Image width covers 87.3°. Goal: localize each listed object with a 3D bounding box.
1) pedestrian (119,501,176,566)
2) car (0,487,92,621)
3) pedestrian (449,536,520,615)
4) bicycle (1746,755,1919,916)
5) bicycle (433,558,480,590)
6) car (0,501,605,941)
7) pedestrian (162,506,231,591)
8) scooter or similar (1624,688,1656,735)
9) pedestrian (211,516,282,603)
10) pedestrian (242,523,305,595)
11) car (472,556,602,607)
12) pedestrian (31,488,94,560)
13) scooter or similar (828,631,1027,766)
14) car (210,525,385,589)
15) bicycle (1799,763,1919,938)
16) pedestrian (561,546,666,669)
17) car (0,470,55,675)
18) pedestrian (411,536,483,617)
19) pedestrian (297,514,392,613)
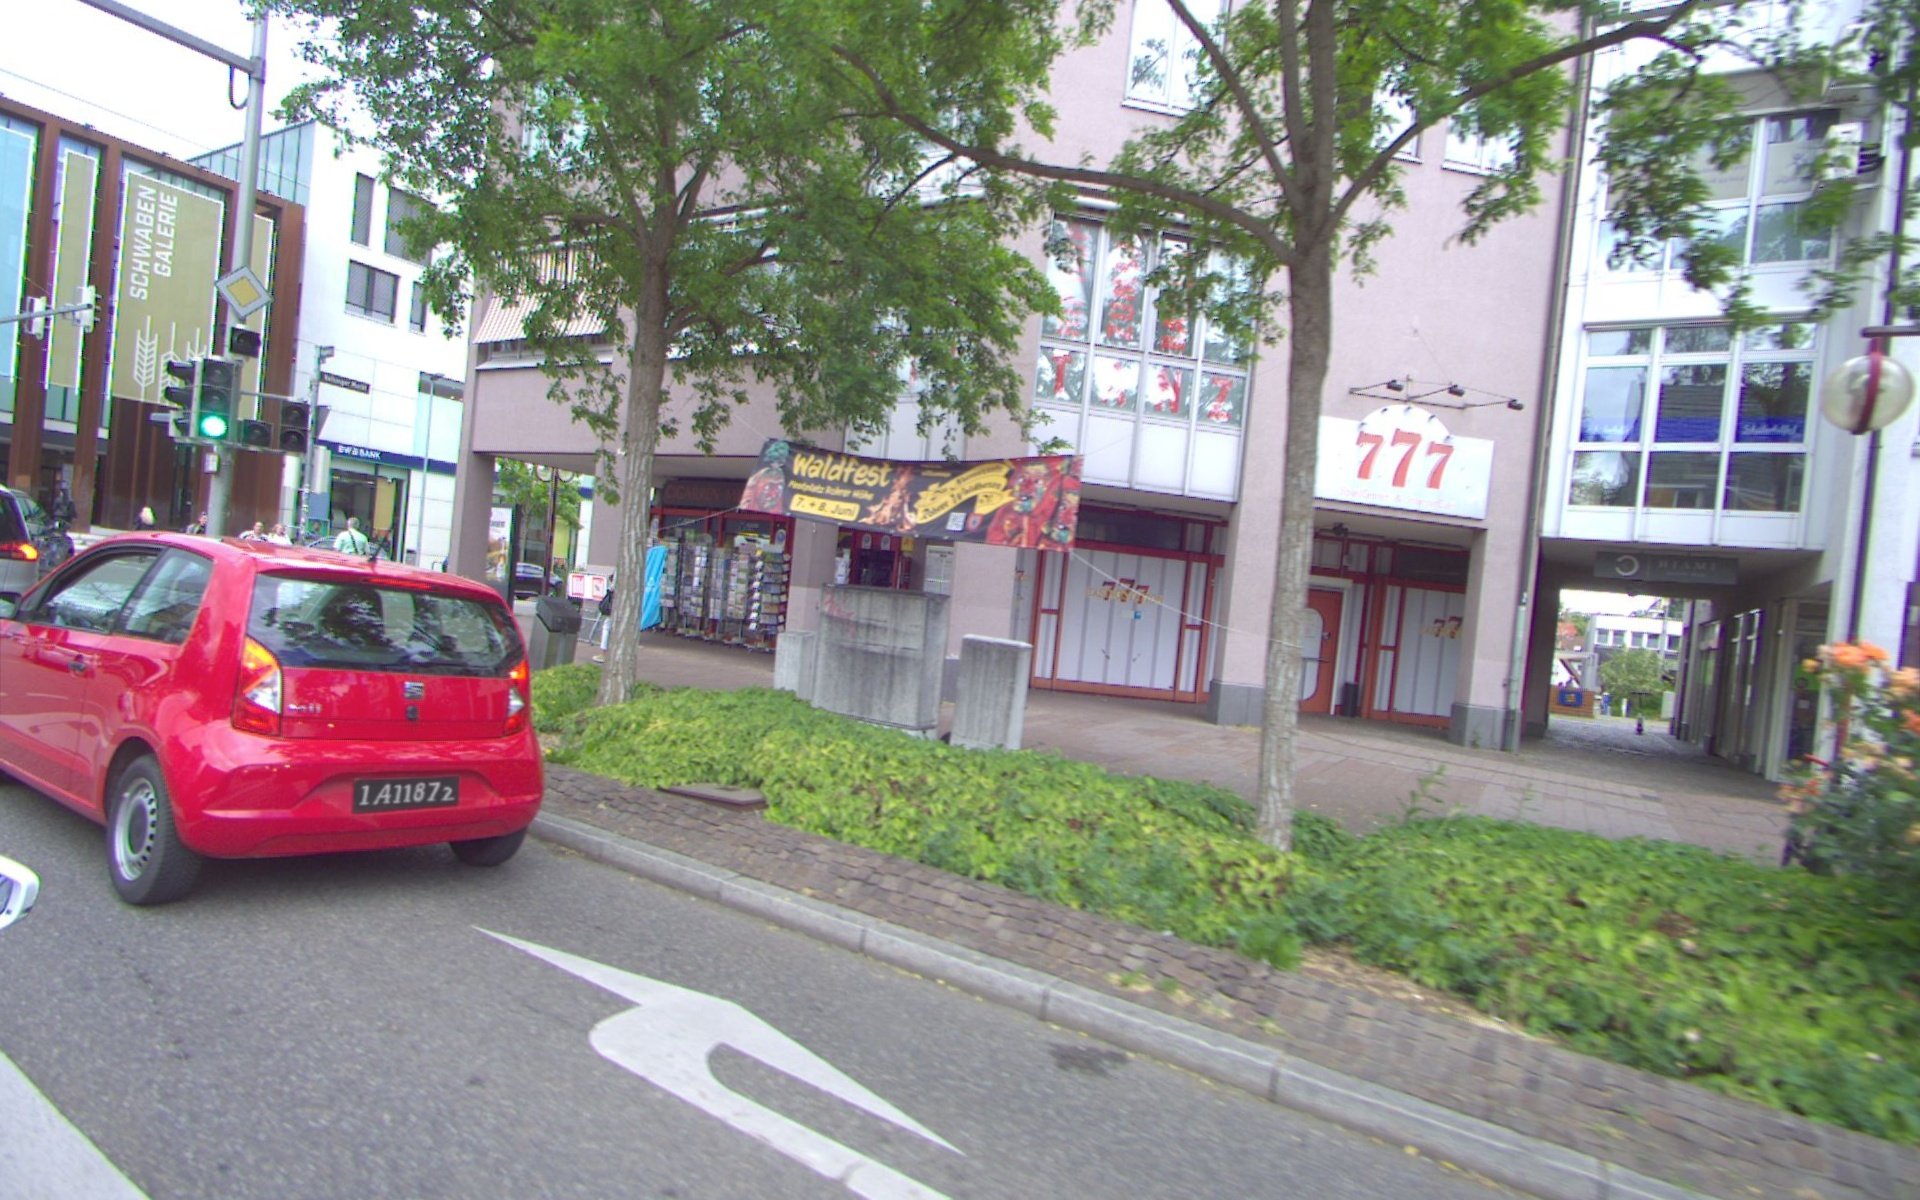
[{"bbox_3d":[-24.331,-1.986,30.134,1.101,1.789,0.879,7,1,29],"label":"pedestrian"},{"bbox_3d":[-13.830,-0.799,14.365,1.843,1.628,4.809,8,-1,-39],"label":"car"},{"bbox_3d":[-10.505,-0.539,22.245,1.040,1.604,0.831,7,1,28],"label":"pedestrian"},{"bbox_3d":[6.767,1.778,7.584,1.545,1.062,0.405,6,1,-16],"label":"bicycle"},{"bbox_3d":[-20.819,-1.065,41.598,1.959,1.115,0.719,7,1,32],"label":"bicycle"},{"bbox_3d":[-3.768,0.393,5.235,3.582,1.465,1.629,7,-2,32],"label":"car"},{"bbox_3d":[-16.165,-1.088,21.300,0.937,1.647,0.742,7,2,29],"label":"pedestrian"},{"bbox_3d":[19.002,3.103,28.125,0.489,1.208,1.502,7,0,30],"label":"scooter or similar"},{"bbox_3d":[-14.514,-0.816,20.459,0.937,1.647,0.742,7,2,29],"label":"pedestrian"},{"bbox_3d":[-16.773,-1.005,24.583,1.022,1.615,0.822,7,1,32],"label":"pedestrian"},{"bbox_3d":[-16.700,-0.697,39.953,1.770,1.421,4.542,7,-1,30],"label":"car"},{"bbox_3d":[-24.310,-2.050,27.248,1.101,1.789,0.879,7,1,29],"label":"pedestrian"},{"bbox_3d":[-0.325,0.960,10.125,1.852,1.101,0.471,6,1,15],"label":"scooter or similar"},{"bbox_3d":[-20.847,-1.328,31.834,1.770,1.421,4.180,7,-1,29],"label":"car"},{"bbox_3d":[6.606,1.735,6.915,1.545,1.062,0.405,6,1,-16],"label":"bicycle"},{"bbox_3d":[-5.055,0.118,14.682,1.075,1.647,0.809,7,2,30],"label":"pedestrian"},{"bbox_3d":[-10.201,-0.489,9.322,4.313,1.721,1.740,6,-2,36],"label":"car"},{"bbox_3d":[-10.920,-0.503,21.426,0.952,1.578,0.831,7,1,28],"label":"pedestrian"},{"bbox_3d":[-11.842,-0.694,19.372,1.091,1.737,1.057,7,1,31],"label":"pedestrian"}]
